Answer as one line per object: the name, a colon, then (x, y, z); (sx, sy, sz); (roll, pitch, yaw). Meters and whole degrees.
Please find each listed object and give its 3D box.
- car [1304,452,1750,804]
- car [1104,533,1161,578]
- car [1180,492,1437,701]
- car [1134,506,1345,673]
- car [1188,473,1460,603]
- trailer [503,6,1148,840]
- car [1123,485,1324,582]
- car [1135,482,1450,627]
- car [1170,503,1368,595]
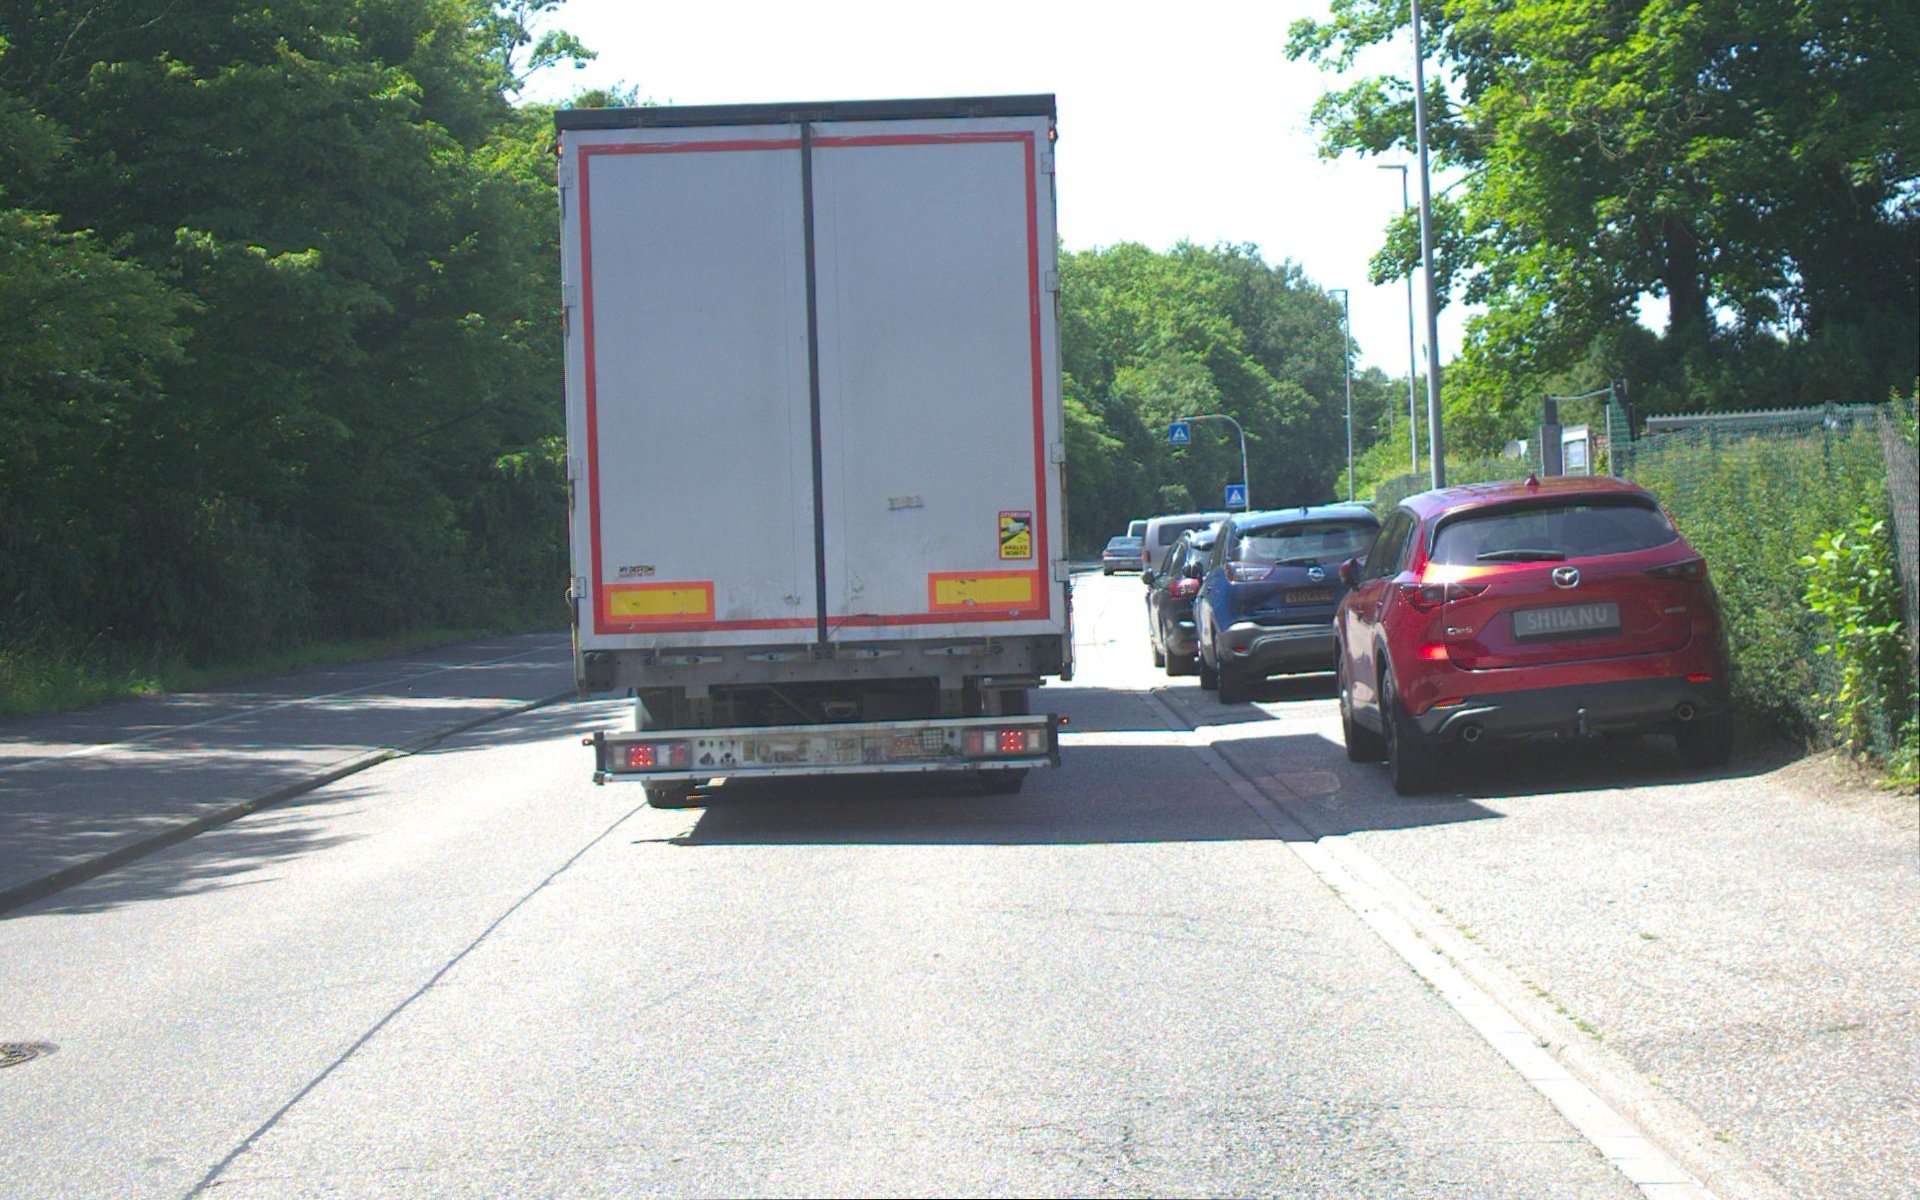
car: (3.176, 0.092, 20.135); (1.789, 1.652, 4.452); (-6, 1, 1)
car: (6.208, -1.622, 123.344); (1.781, 1.481, 3.999); (-2, 1, 6)
car: (2.995, -0.092, 30.320); (1.789, 1.598, 4.130); (-4, 2, 1)
car: (2.895, -0.164, 36.465); (1.789, 1.476, 4.665); (-6, 1, 1)
car: (6.007, -1.034, 57.047); (4.258, 1.692, 1.853); (-6, 1, 5)
trailer: (-0.757, -0.996, 22.995); (3.112, 4.088, 11.537); (-2, 1, -1)
car: (6.373, -1.615, 83.155); (4.622, 1.842, 1.995); (-6, 1, 5)
car: (5.008, -0.701, 52.246); (4.470, 1.698, 1.914); (-6, 1, 1)
car: (6.402, -1.072, 71.410); (3.920, 1.473, 1.845); (-6, 1, 4)
